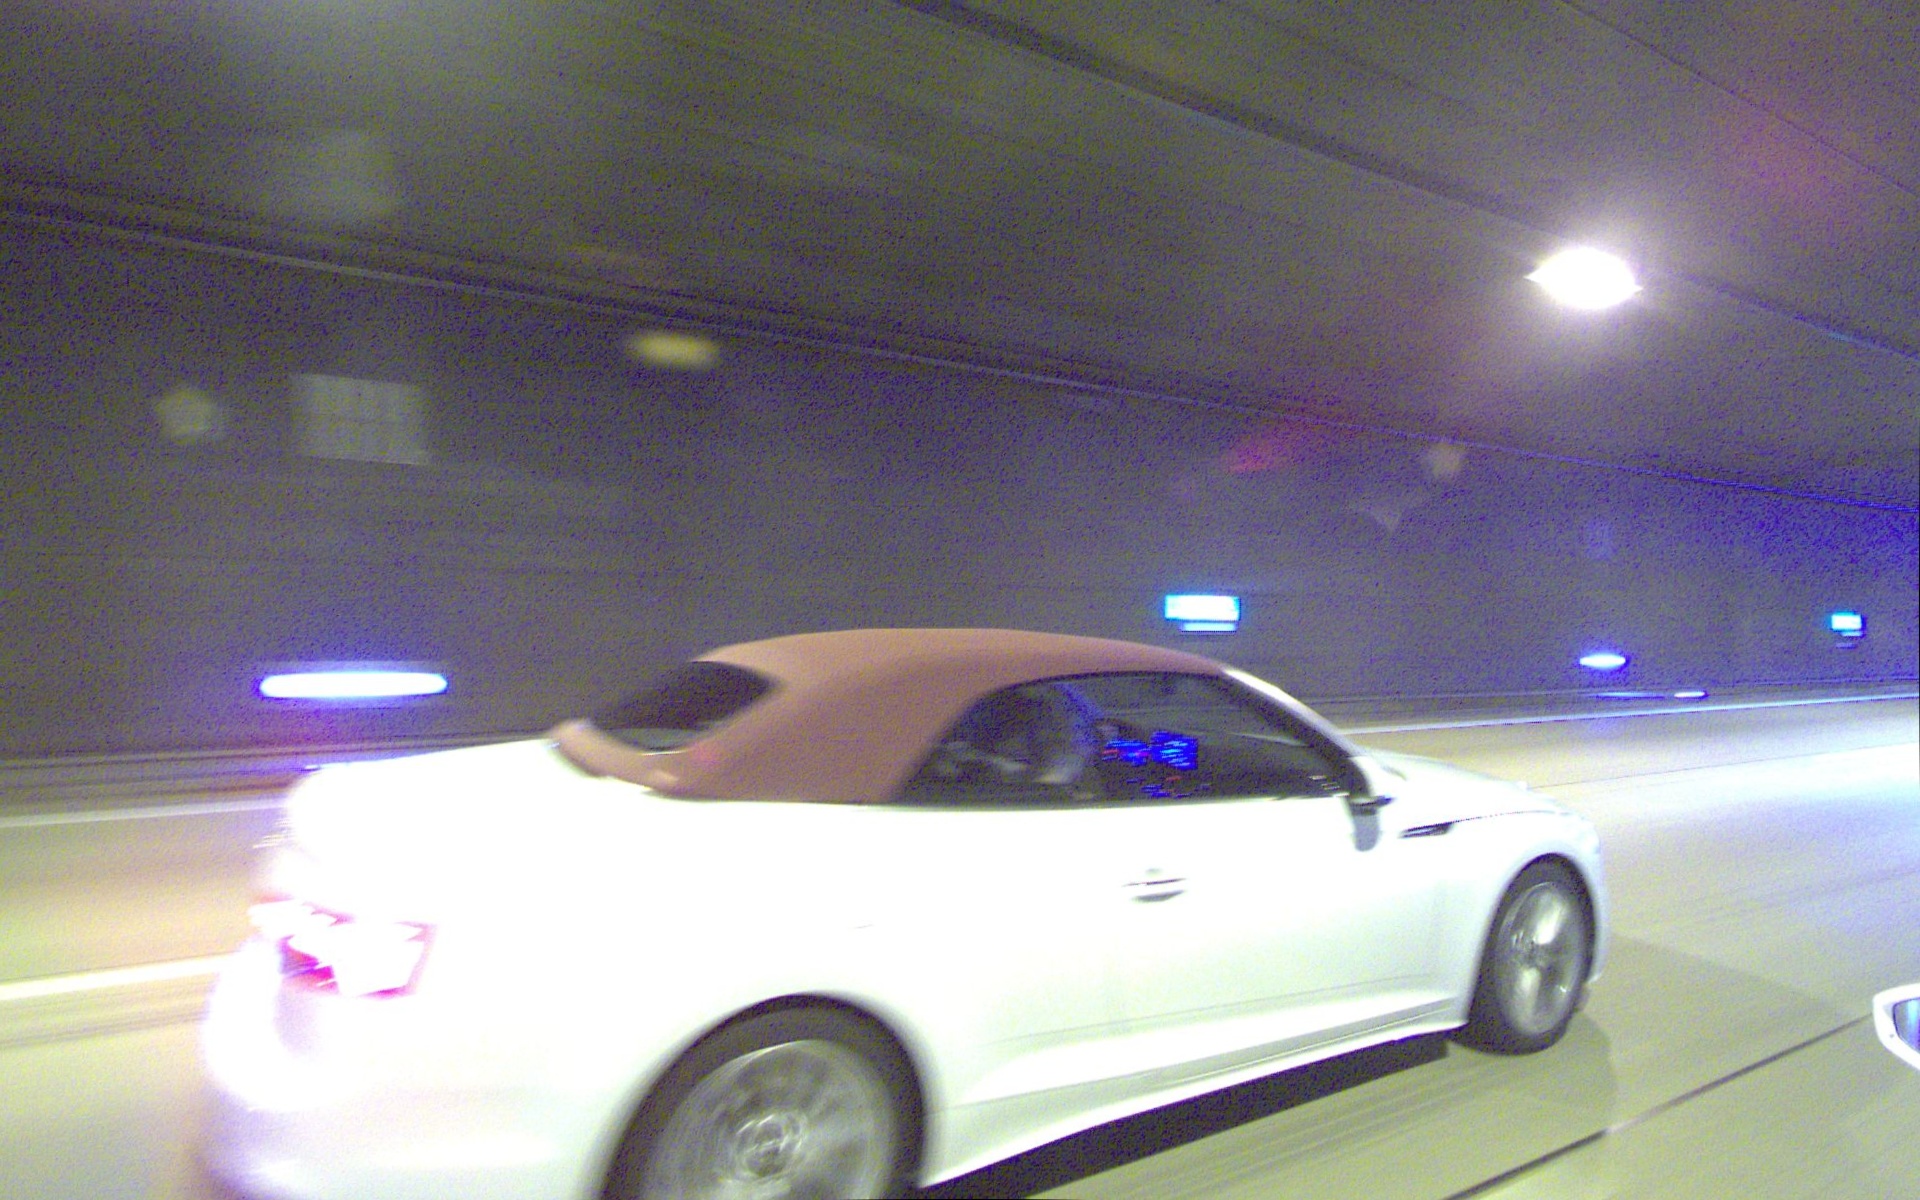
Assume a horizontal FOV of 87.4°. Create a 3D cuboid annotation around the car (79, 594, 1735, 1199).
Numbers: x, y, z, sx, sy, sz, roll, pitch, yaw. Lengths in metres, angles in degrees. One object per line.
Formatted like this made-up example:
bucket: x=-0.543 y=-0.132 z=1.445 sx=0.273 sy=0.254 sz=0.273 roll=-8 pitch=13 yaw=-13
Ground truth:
car: x=0.493 y=0.783 z=3.432 sx=5.001 sy=1.437 sz=1.694 roll=2 pitch=-2 yaw=-31
